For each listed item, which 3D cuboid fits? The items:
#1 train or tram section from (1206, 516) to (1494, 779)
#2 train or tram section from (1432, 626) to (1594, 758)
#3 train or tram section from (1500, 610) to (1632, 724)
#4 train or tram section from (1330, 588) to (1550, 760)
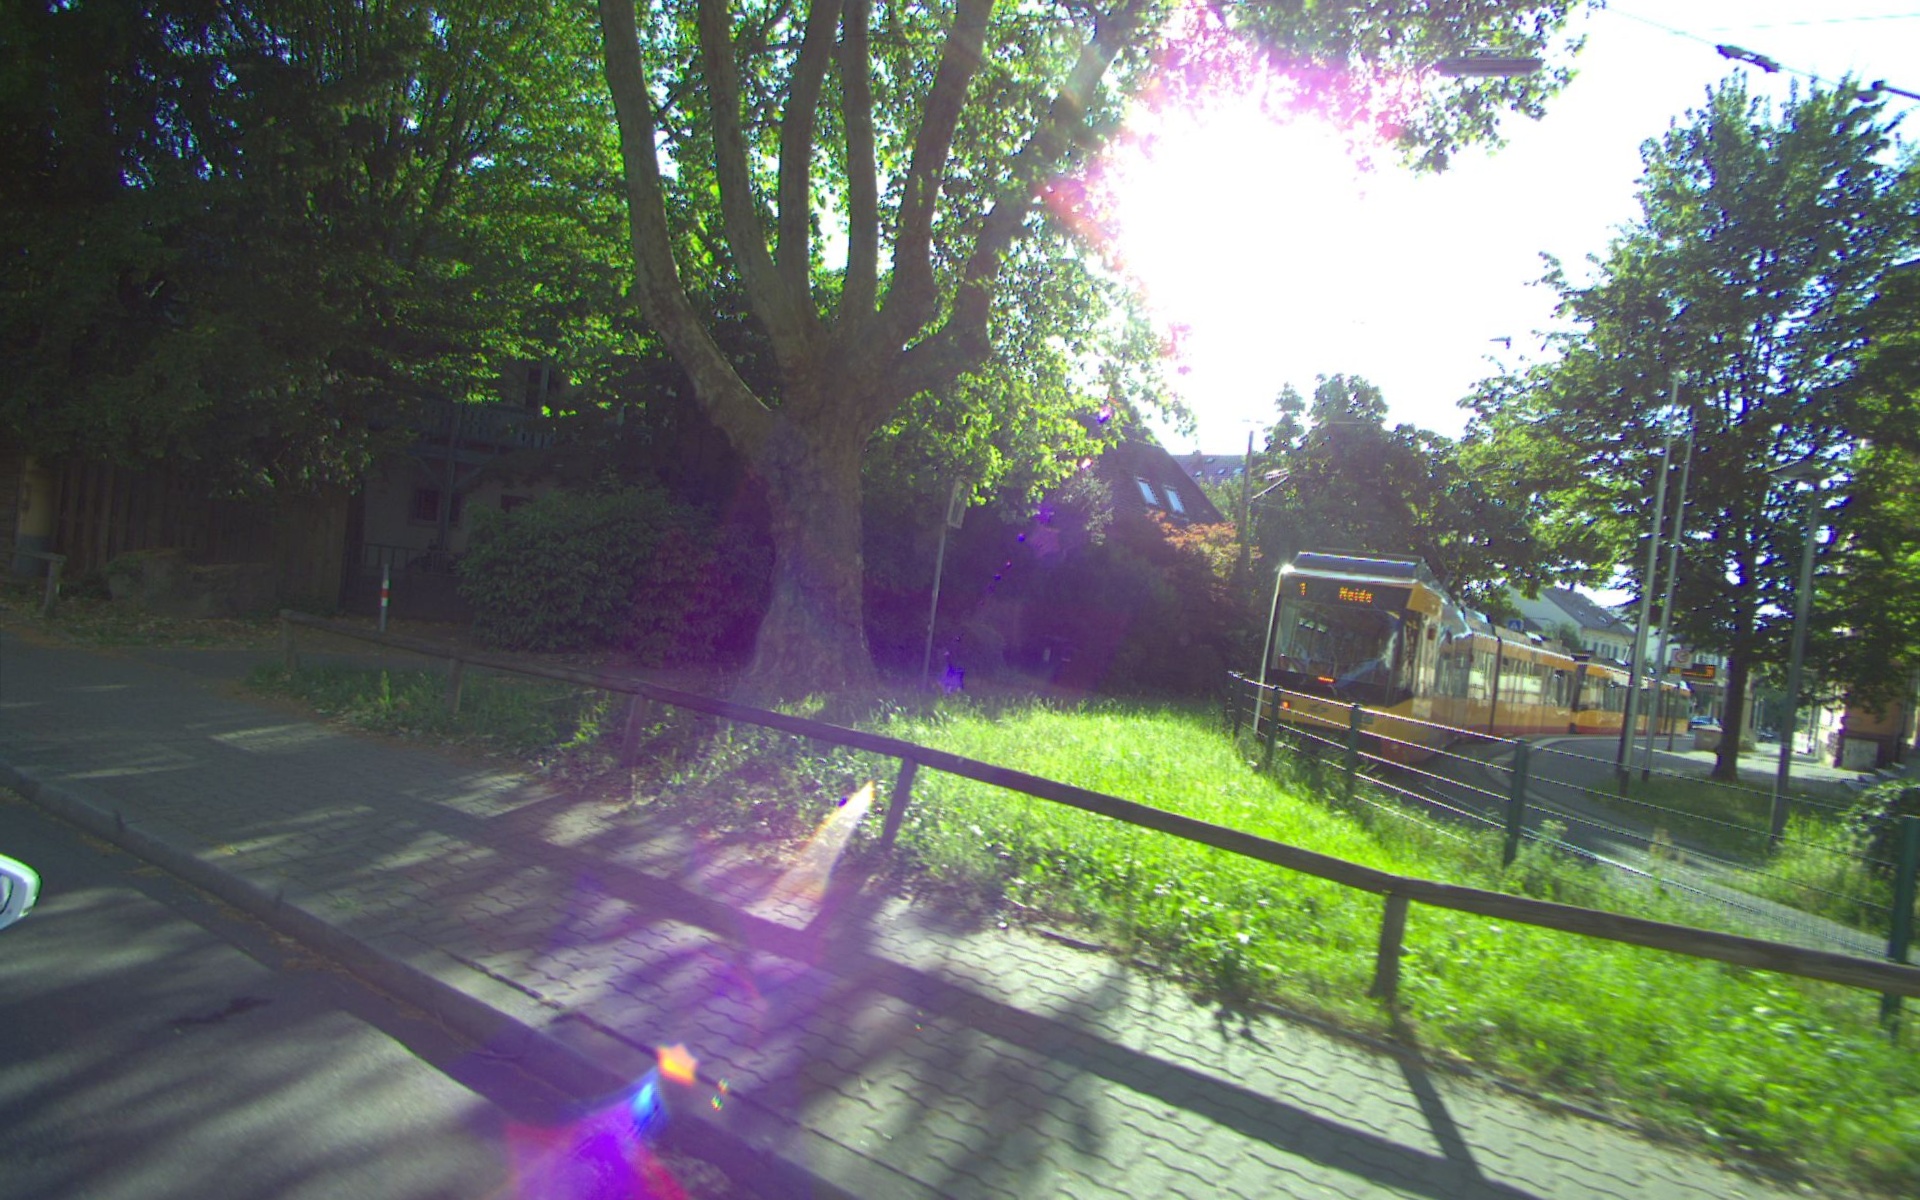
[{"bbox_3d":[7.670,1.092,18.647,2.753,3.559,9.252,7,-2,34],"label":"train or tram section"},{"bbox_3d":[18.526,3.200,33.301,2.758,3.559,9.237,7,-2,39],"label":"train or tram section"},{"bbox_3d":[24.642,2.866,40.614,2.808,3.642,9.831,7,-2,40],"label":"train or tram section"},{"bbox_3d":[12.833,2.131,26.259,2.758,3.559,9.237,7,-2,39],"label":"train or tram section"}]
